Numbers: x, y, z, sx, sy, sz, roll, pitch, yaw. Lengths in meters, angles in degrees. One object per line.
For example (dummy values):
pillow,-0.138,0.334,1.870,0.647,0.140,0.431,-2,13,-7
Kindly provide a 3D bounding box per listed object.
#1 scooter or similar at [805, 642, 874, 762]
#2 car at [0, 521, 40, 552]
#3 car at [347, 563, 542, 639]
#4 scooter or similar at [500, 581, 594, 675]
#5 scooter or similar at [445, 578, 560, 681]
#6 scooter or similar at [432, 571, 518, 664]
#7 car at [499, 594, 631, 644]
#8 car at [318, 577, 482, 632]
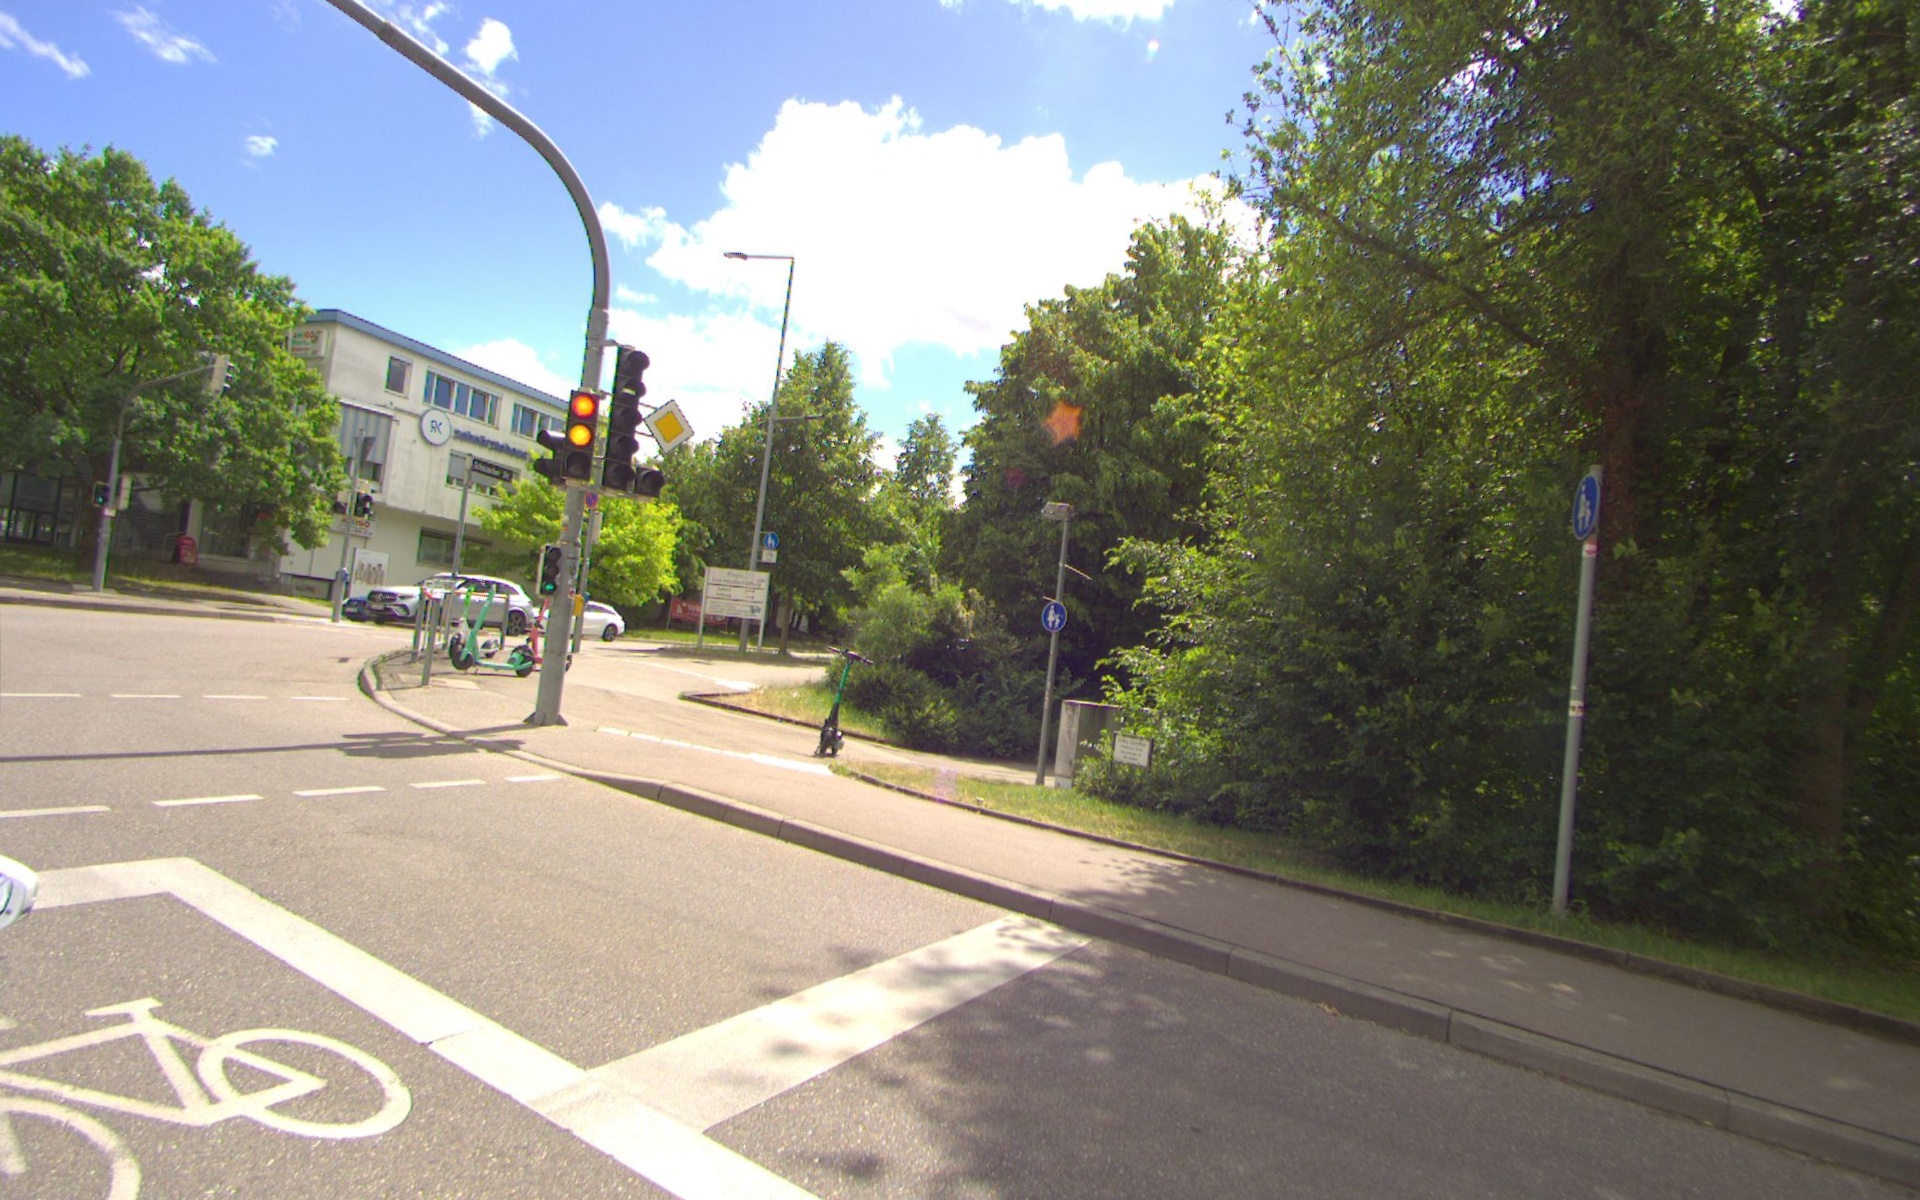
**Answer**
scooter or similar,-1.442,1.231,12.234,0.526,1.305,1.213,11,-5,-2
car,-54.442,-3.720,57.294,3.931,1.487,1.748,6,-2,29
car,-14.318,0.093,28.287,1.889,1.609,4.658,4,-3,23
scooter or similar,-5.952,0.433,14.552,0.471,1.249,1.186,7,-2,18
scooter or similar,-5.899,0.400,13.018,0.442,1.209,1.169,6,-2,35
scooter or similar,-7.033,0.273,14.646,0.470,1.249,1.212,7,-1,3
car,-14.348,0.736,36.847,1.916,1.430,4.407,4,-3,21
car,-16.921,0.179,30.600,1.879,1.239,3.973,4,-3,23
